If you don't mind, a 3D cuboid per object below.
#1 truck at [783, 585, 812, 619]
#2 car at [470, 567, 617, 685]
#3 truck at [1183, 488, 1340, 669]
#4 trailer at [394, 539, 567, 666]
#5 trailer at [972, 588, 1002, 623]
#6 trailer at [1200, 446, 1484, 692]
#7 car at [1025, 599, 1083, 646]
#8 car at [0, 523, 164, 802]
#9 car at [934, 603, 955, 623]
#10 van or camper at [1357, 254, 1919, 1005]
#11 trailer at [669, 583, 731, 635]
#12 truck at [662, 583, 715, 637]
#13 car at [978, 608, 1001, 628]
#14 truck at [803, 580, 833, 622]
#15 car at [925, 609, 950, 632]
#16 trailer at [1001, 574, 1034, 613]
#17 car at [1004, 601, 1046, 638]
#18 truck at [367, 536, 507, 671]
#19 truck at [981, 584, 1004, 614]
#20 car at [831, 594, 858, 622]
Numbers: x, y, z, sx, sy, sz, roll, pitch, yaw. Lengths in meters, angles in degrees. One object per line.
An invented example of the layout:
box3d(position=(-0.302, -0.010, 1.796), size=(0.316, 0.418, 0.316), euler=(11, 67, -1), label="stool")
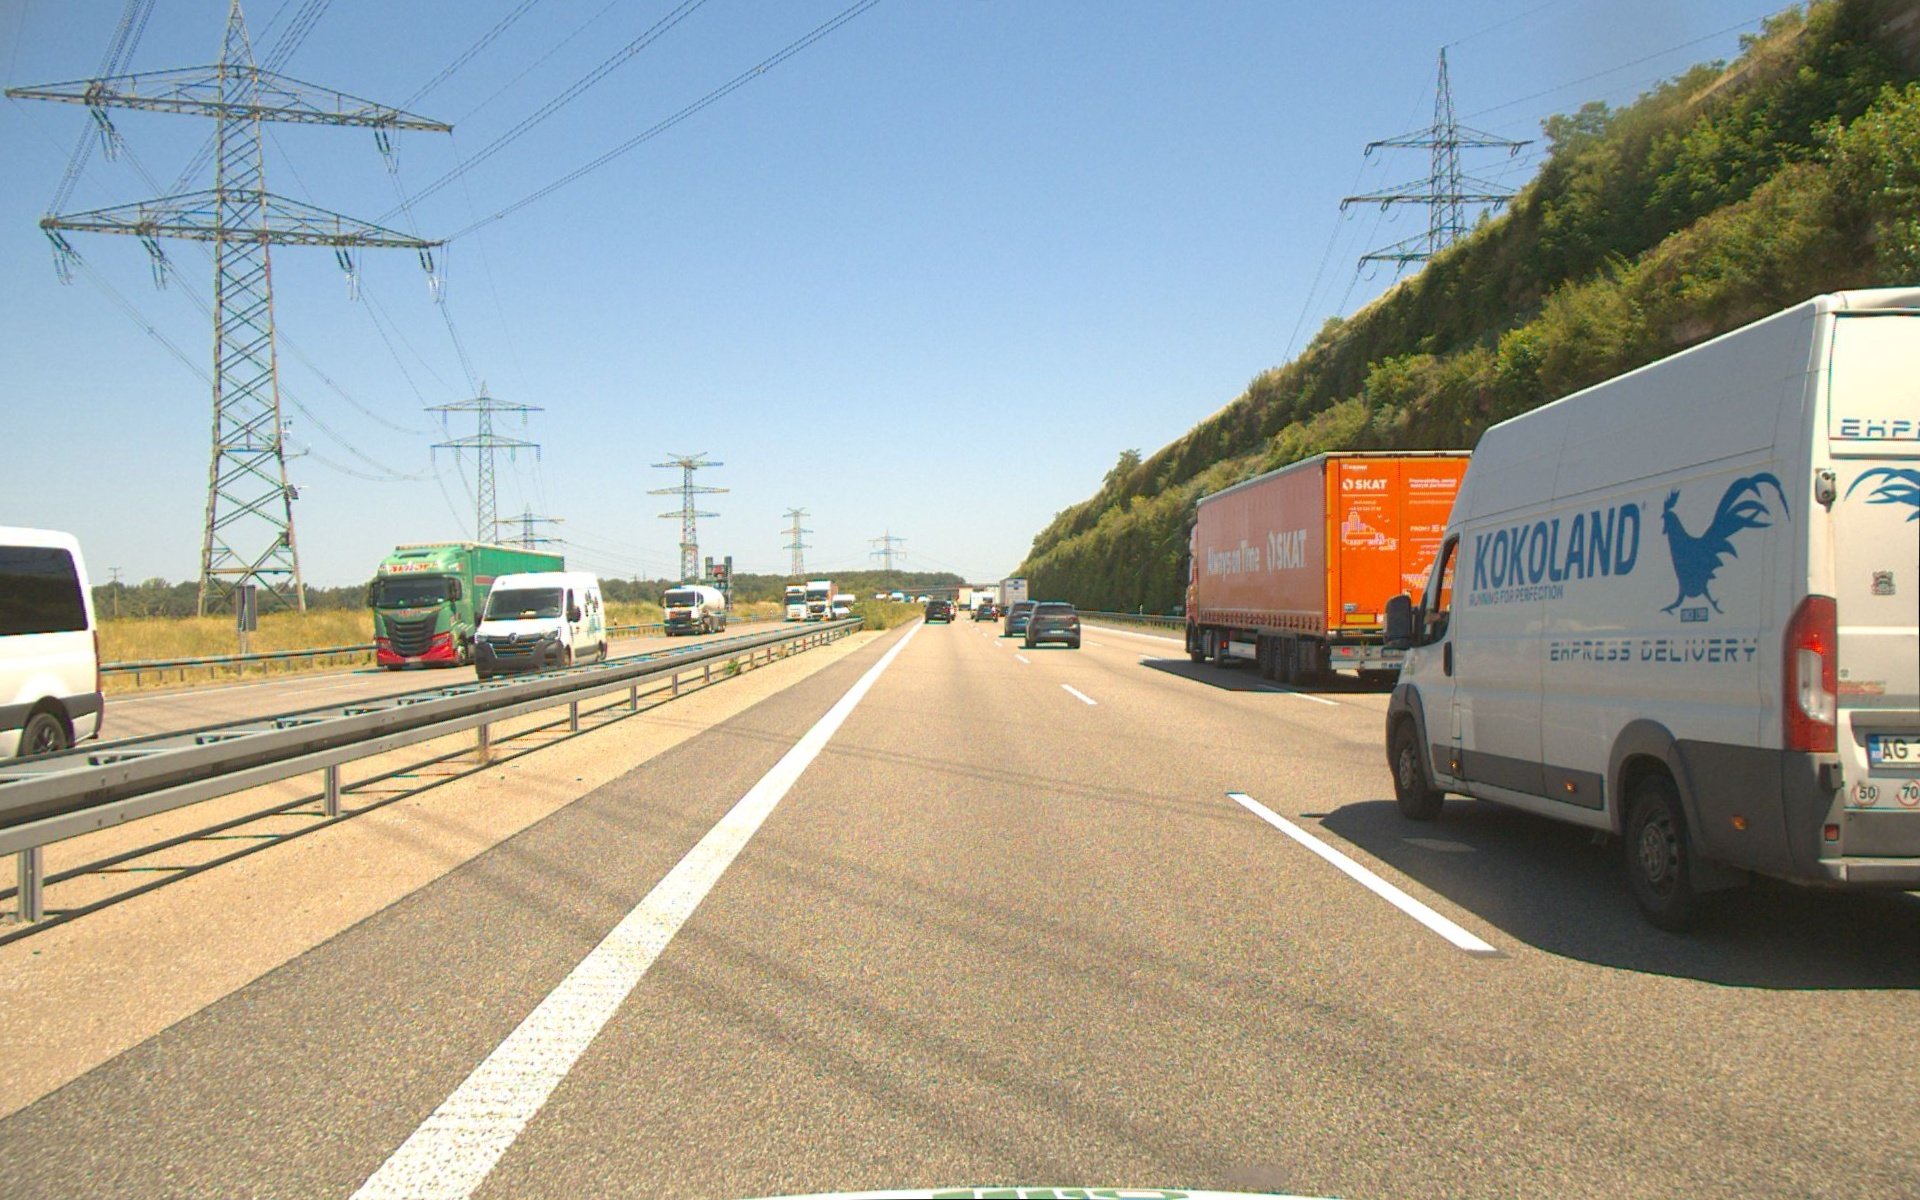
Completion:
box3d(position=(-19.072, 0.267, 194.671), size=(2.778, 3.816, 6.847), euler=(-2, 0, -2), label="truck")
box3d(position=(-9.706, 0.568, 39.121), size=(2.006, 2.481, 6.067), euler=(-2, 0, -2), label="car")
box3d(position=(7.248, -0.492, 40.619), size=(2.564, 4.062, 6.525), euler=(-1, 0, -1), label="truck")
box3d(position=(-17.612, 0.098, 61.978), size=(2.615, 4.156, 13.912), euler=(-2, 0, -1), label="trailer")
box3d(position=(2.596, 0.542, 160.820), size=(2.557, 3.269, 9.950), euler=(-1, 0, -1), label="trailer")
box3d(position=(7.343, -0.517, 34.302), size=(2.591, 4.075, 13.603), euler=(0, 0, -1), label="trailer")
box3d(position=(3.231, 0.760, 57.558), size=(1.713, 1.552, 3.994), euler=(-1, 0, -1), label="car")
box3d(position=(-9.067, 0.553, 13.412), size=(2.066, 2.338, 6.705), euler=(-2, 0, -1), label="car")
box3d(position=(-1.399, 1.160, 145.605), size=(1.792, 1.700, 3.999), euler=(-1, 0, -1), label="car")
box3d(position=(4.224, 0.101, 9.623), size=(2.054, 2.817, 6.755), euler=(0, 0, -1), label="van or camper")
box3d(position=(-18.087, 0.595, 115.639), size=(2.367, 3.431, 11.562), euler=(-2, 0, 0), label="trailer")
box3d(position=(-18.079, 0.648, 110.463), size=(2.432, 3.437, 6.210), euler=(-2, 0, -1), label="truck")
box3d(position=(2.360, 1.453, 135.038), size=(1.792, 1.552, 4.000), euler=(-2, 0, 0), label="car")
box3d(position=(-15.088, 0.086, 176.102), size=(2.547, 4.285, 5.909), euler=(-2, 0, 0), label="truck")
box3d(position=(-1.703, 1.559, 126.131), size=(1.792, 1.700, 3.999), euler=(-1, 0, -1), label="car")
box3d(position=(6.359, -0.690, 185.268), size=(3.118, 4.193, 13.429), euler=(-1, 0, 0), label="trailer")
box3d(position=(2.977, 0.879, 76.560), size=(1.757, 1.682, 4.137), euler=(-1, 0, 0), label="car")
box3d(position=(-17.509, 0.114, 55.792), size=(2.644, 4.207, 6.579), euler=(-2, 0, -1), label="truck")
box3d(position=(4.924, -0.091, 252.668), size=(3.055, 4.355, 11.932), euler=(-1, 0, 0), label="truck")
box3d(position=(-10.479, 0.722, 150.822), size=(1.953, 2.479, 6.029), euler=(-2, 0, 0), label="car")
